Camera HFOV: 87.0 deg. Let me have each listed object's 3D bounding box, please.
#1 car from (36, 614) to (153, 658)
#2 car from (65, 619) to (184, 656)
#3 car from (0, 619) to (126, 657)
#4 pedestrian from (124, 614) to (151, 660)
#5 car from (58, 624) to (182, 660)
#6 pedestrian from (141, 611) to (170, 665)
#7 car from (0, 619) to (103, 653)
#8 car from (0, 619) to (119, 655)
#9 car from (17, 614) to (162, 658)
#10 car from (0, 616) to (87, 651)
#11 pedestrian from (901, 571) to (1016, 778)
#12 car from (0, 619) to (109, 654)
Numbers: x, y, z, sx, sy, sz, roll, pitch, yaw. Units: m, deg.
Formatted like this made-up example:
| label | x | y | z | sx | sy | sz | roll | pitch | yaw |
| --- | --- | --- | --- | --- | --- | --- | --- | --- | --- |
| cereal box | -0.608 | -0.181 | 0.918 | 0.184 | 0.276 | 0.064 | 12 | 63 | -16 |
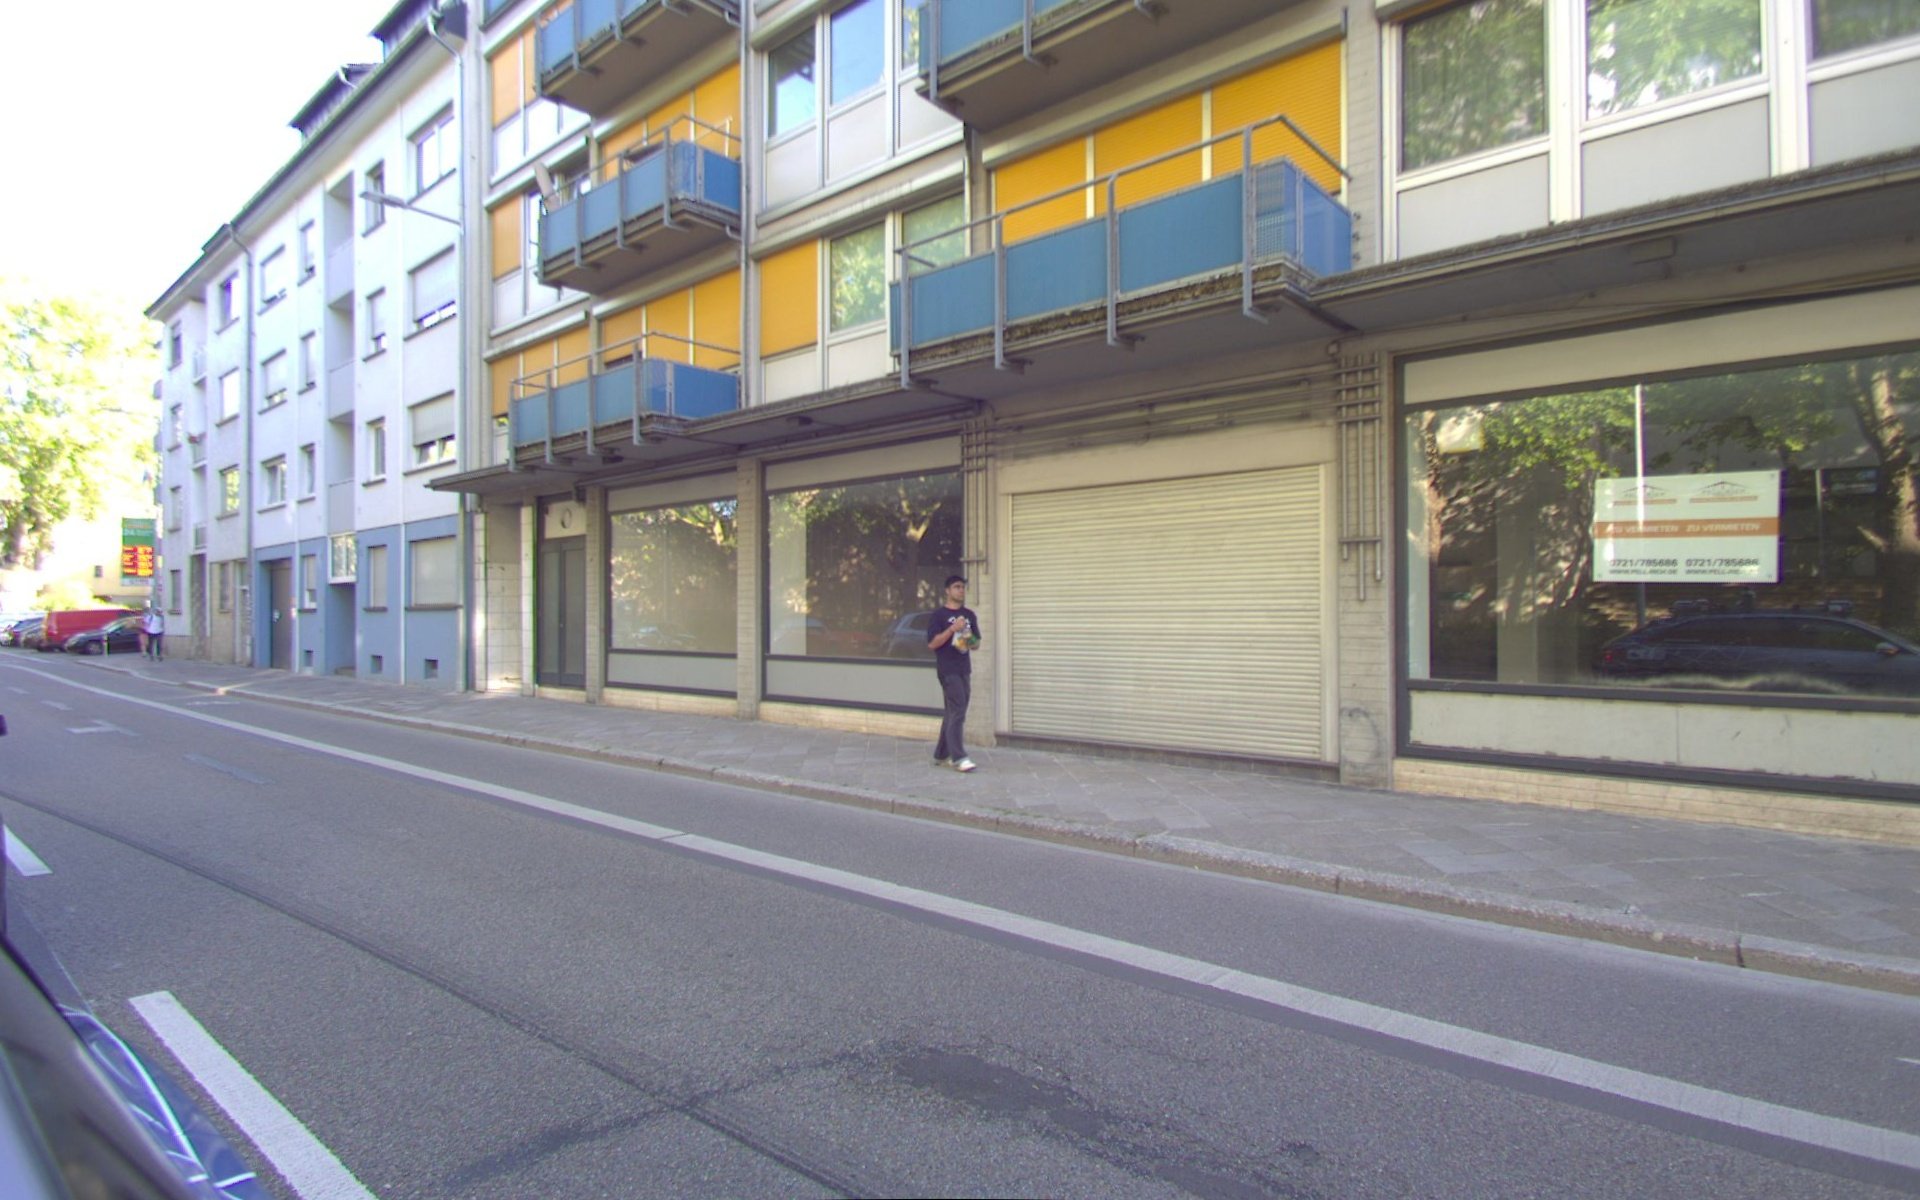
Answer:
| label | x | y | z | sx | sy | sz | roll | pitch | yaw |
| --- | --- | --- | --- | --- | --- | --- | --- | --- | --- |
| car | -40.586 | 1.639 | 47.521 | 1.866 | 1.952 | 3.946 | -1 | -1 | 41 |
| car | -37.874 | 1.684 | 45.948 | 1.742 | 1.572 | 3.946 | -1 | -1 | 41 |
| car | -50.294 | 2.092 | 56.835 | 2.186 | 1.952 | 5.077 | -1 | -1 | 41 |
| pedestrian | -29.733 | 1.325 | 36.588 | 0.842 | 1.654 | 0.596 | -1 | 0 | 41 |
| car | -36.549 | 1.793 | 44.082 | 1.742 | 1.431 | 3.946 | -1 | -1 | 41 |
| pedestrian | -26.582 | 1.245 | 33.431 | 0.756 | 1.760 | 0.600 | -1 | 0 | 41 |
| car | -55.967 | 2.164 | 61.992 | 2.314 | 1.952 | 4.978 | -1 | -1 | 41 |
| car | -52.233 | 2.115 | 58.723 | 2.159 | 1.952 | 4.990 | -1 | -1 | 41 |
| car | -42.687 | 1.706 | 49.719 | 2.256 | 1.995 | 5.156 | -1 | -1 | 41 |
| car | -59.341 | 2.103 | 64.718 | 2.186 | 2.164 | 5.077 | -1 | -1 | 41 |
| pedestrian | -0.011 | 0.648 | 9.234 | 0.793 | 1.785 | 0.655 | -1 | -1 | 41 |
| car | -54.119 | 2.136 | 60.360 | 2.082 | 1.952 | 4.928 | -1 | -1 | 41 |
